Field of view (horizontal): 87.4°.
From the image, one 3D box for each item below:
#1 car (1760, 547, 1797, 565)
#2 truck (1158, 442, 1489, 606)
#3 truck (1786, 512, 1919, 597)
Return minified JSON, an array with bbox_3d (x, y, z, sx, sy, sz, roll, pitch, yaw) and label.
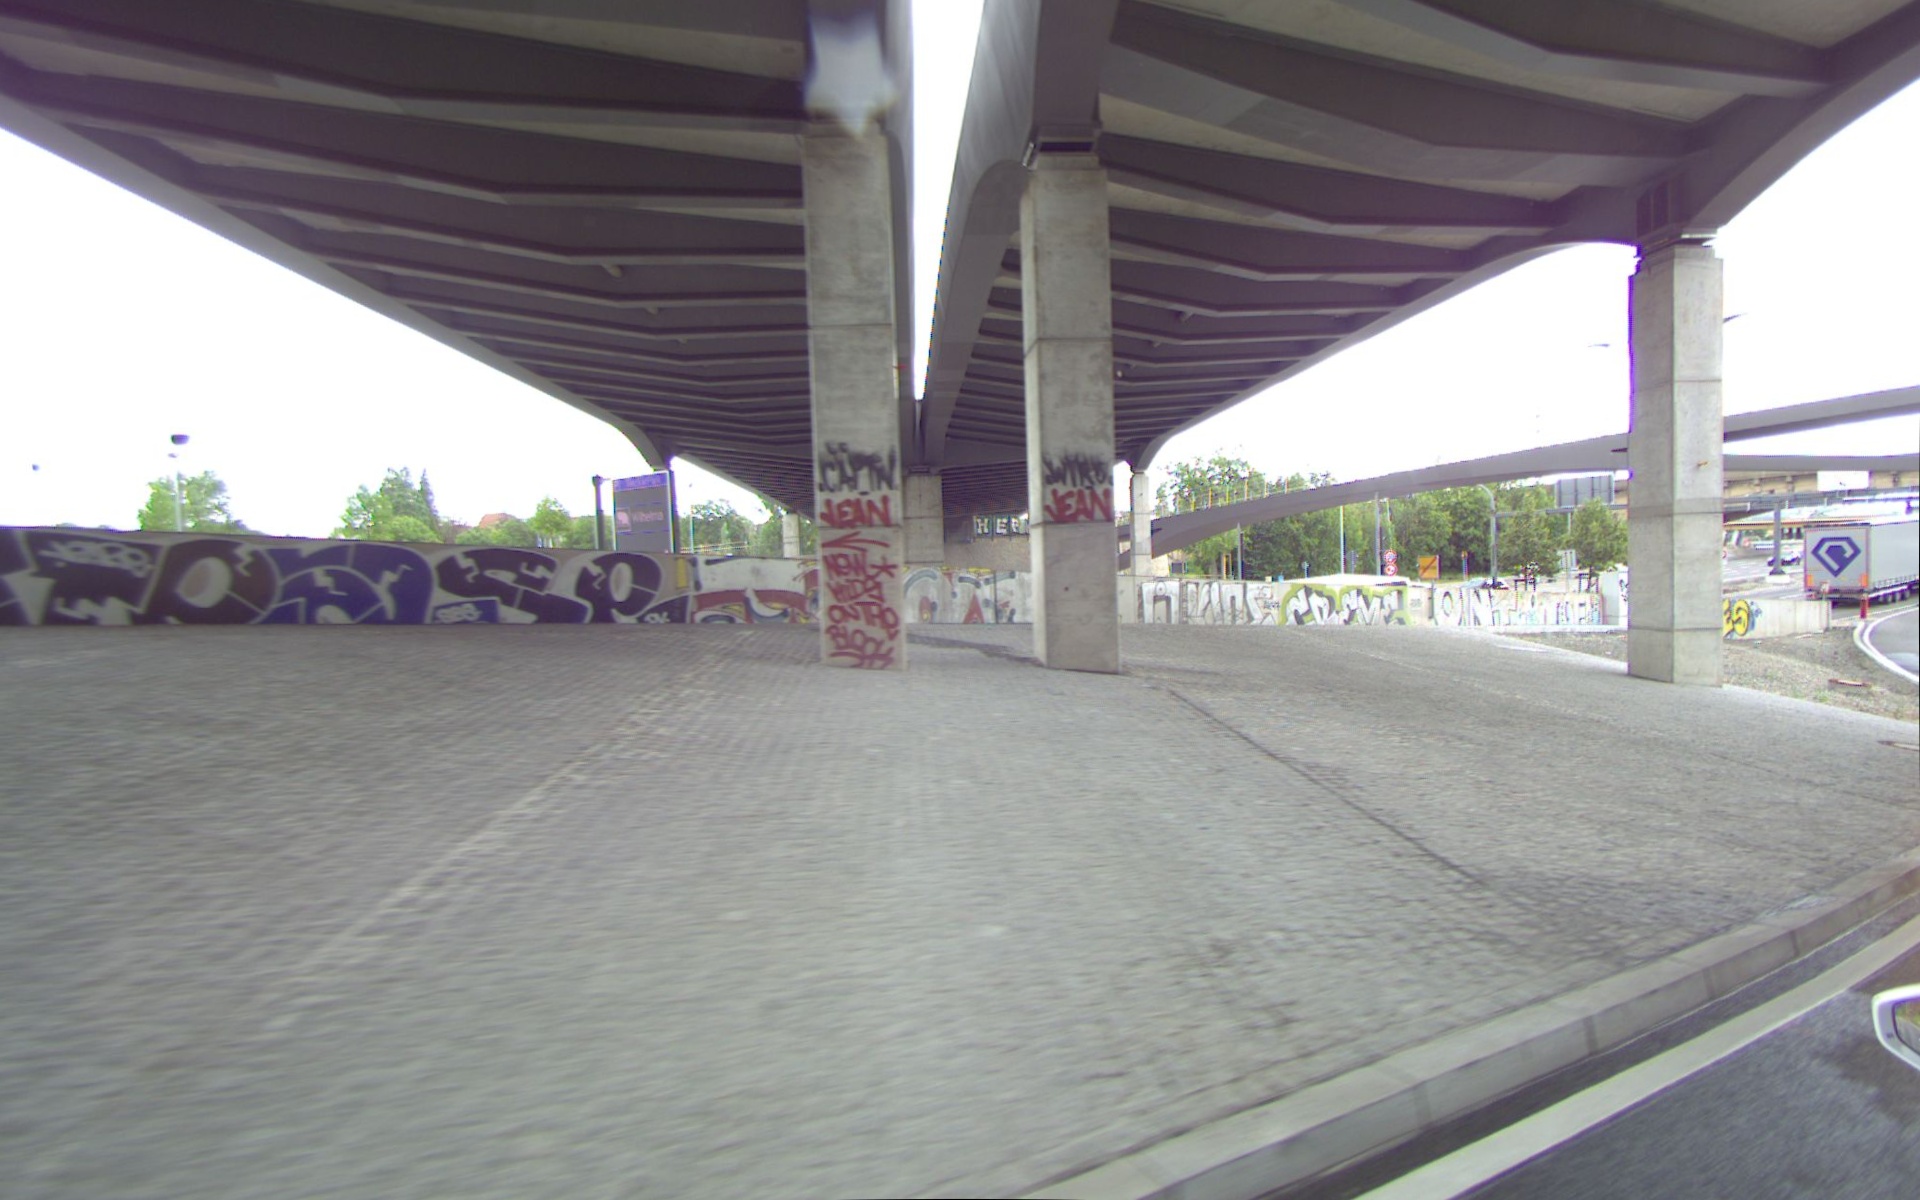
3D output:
[{"bbox_3d":[78.807,-4.263,96.690,3.958,1.646,1.696,-1,1,-34],"label":"car"},{"bbox_3d":[11.140,-1.999,30.106,11.110,4.232,2.972,0,2,-31],"label":"truck"},{"bbox_3d":[48.420,-2.625,52.714,16.419,3.862,3.295,-4,5,-34],"label":"truck"}]
